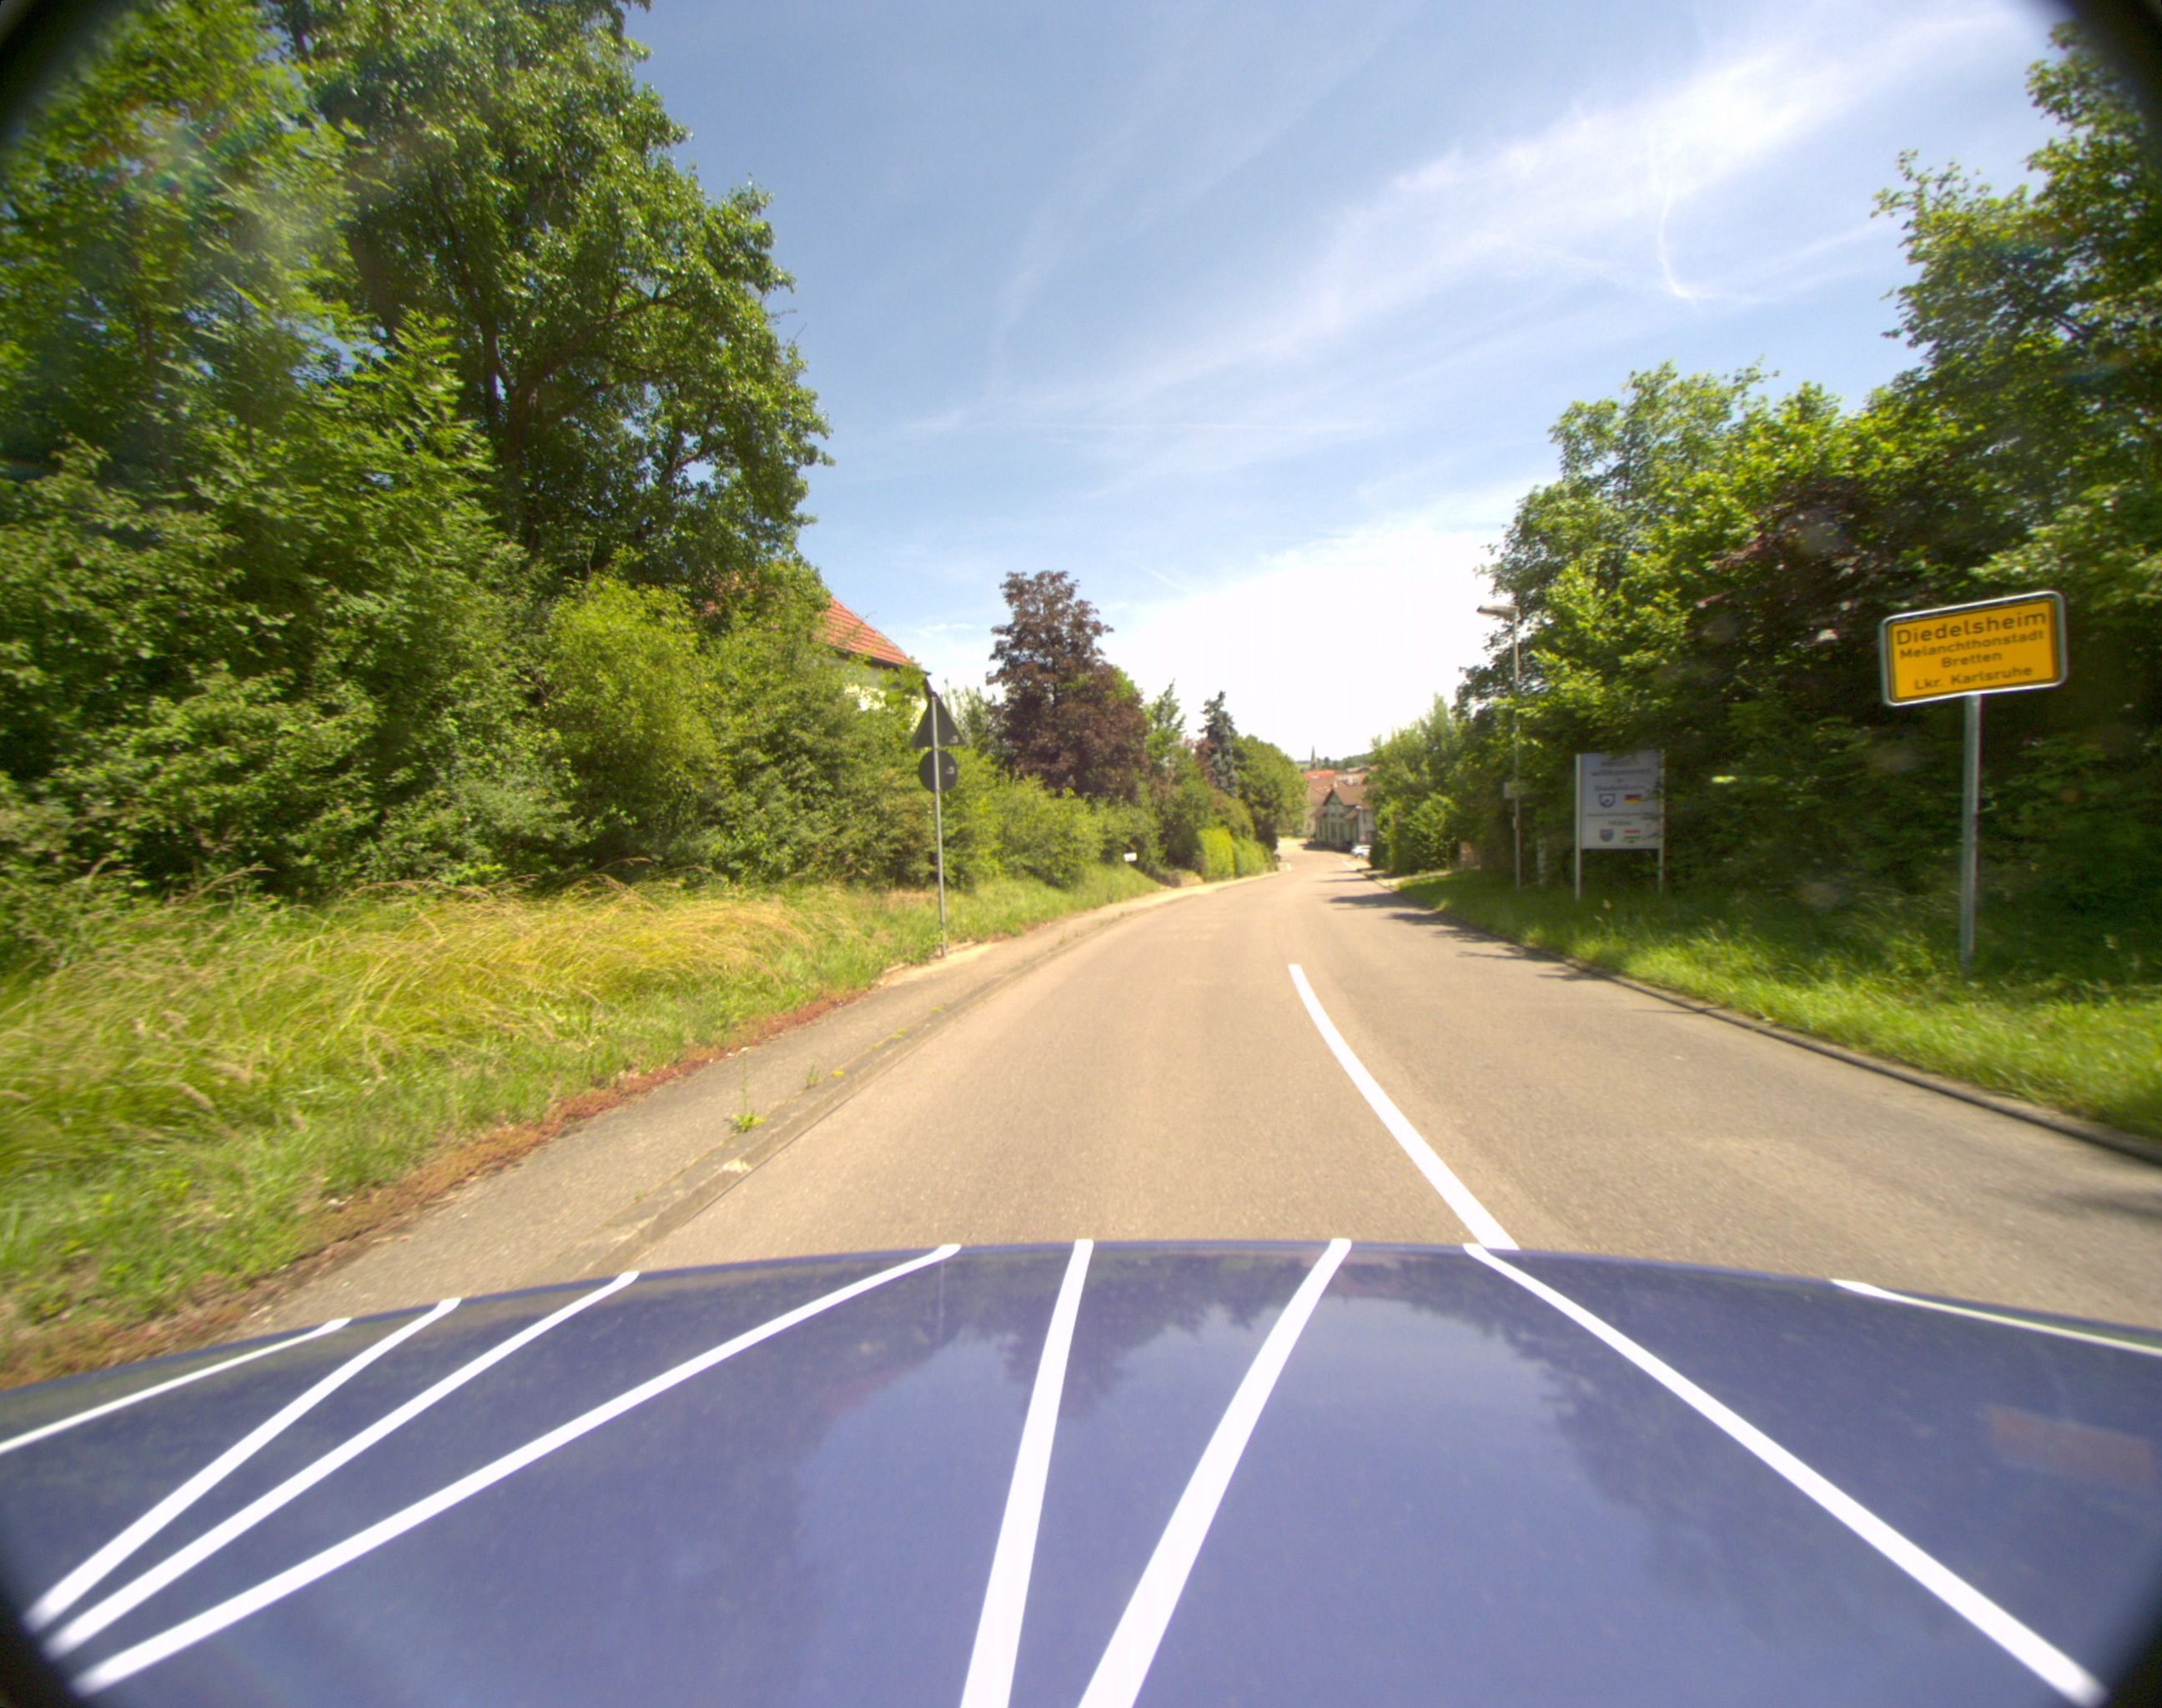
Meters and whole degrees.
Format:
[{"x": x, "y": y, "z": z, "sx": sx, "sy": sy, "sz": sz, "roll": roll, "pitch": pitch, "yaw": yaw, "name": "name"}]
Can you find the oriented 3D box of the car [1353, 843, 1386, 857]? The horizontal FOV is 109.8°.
[{"x": 36.889, "y": -0.574, "z": 97.199, "sx": 3.578, "sy": 1.377, "sz": 1.516, "roll": -6, "pitch": 2, "yaw": 7, "name": "car"}]
